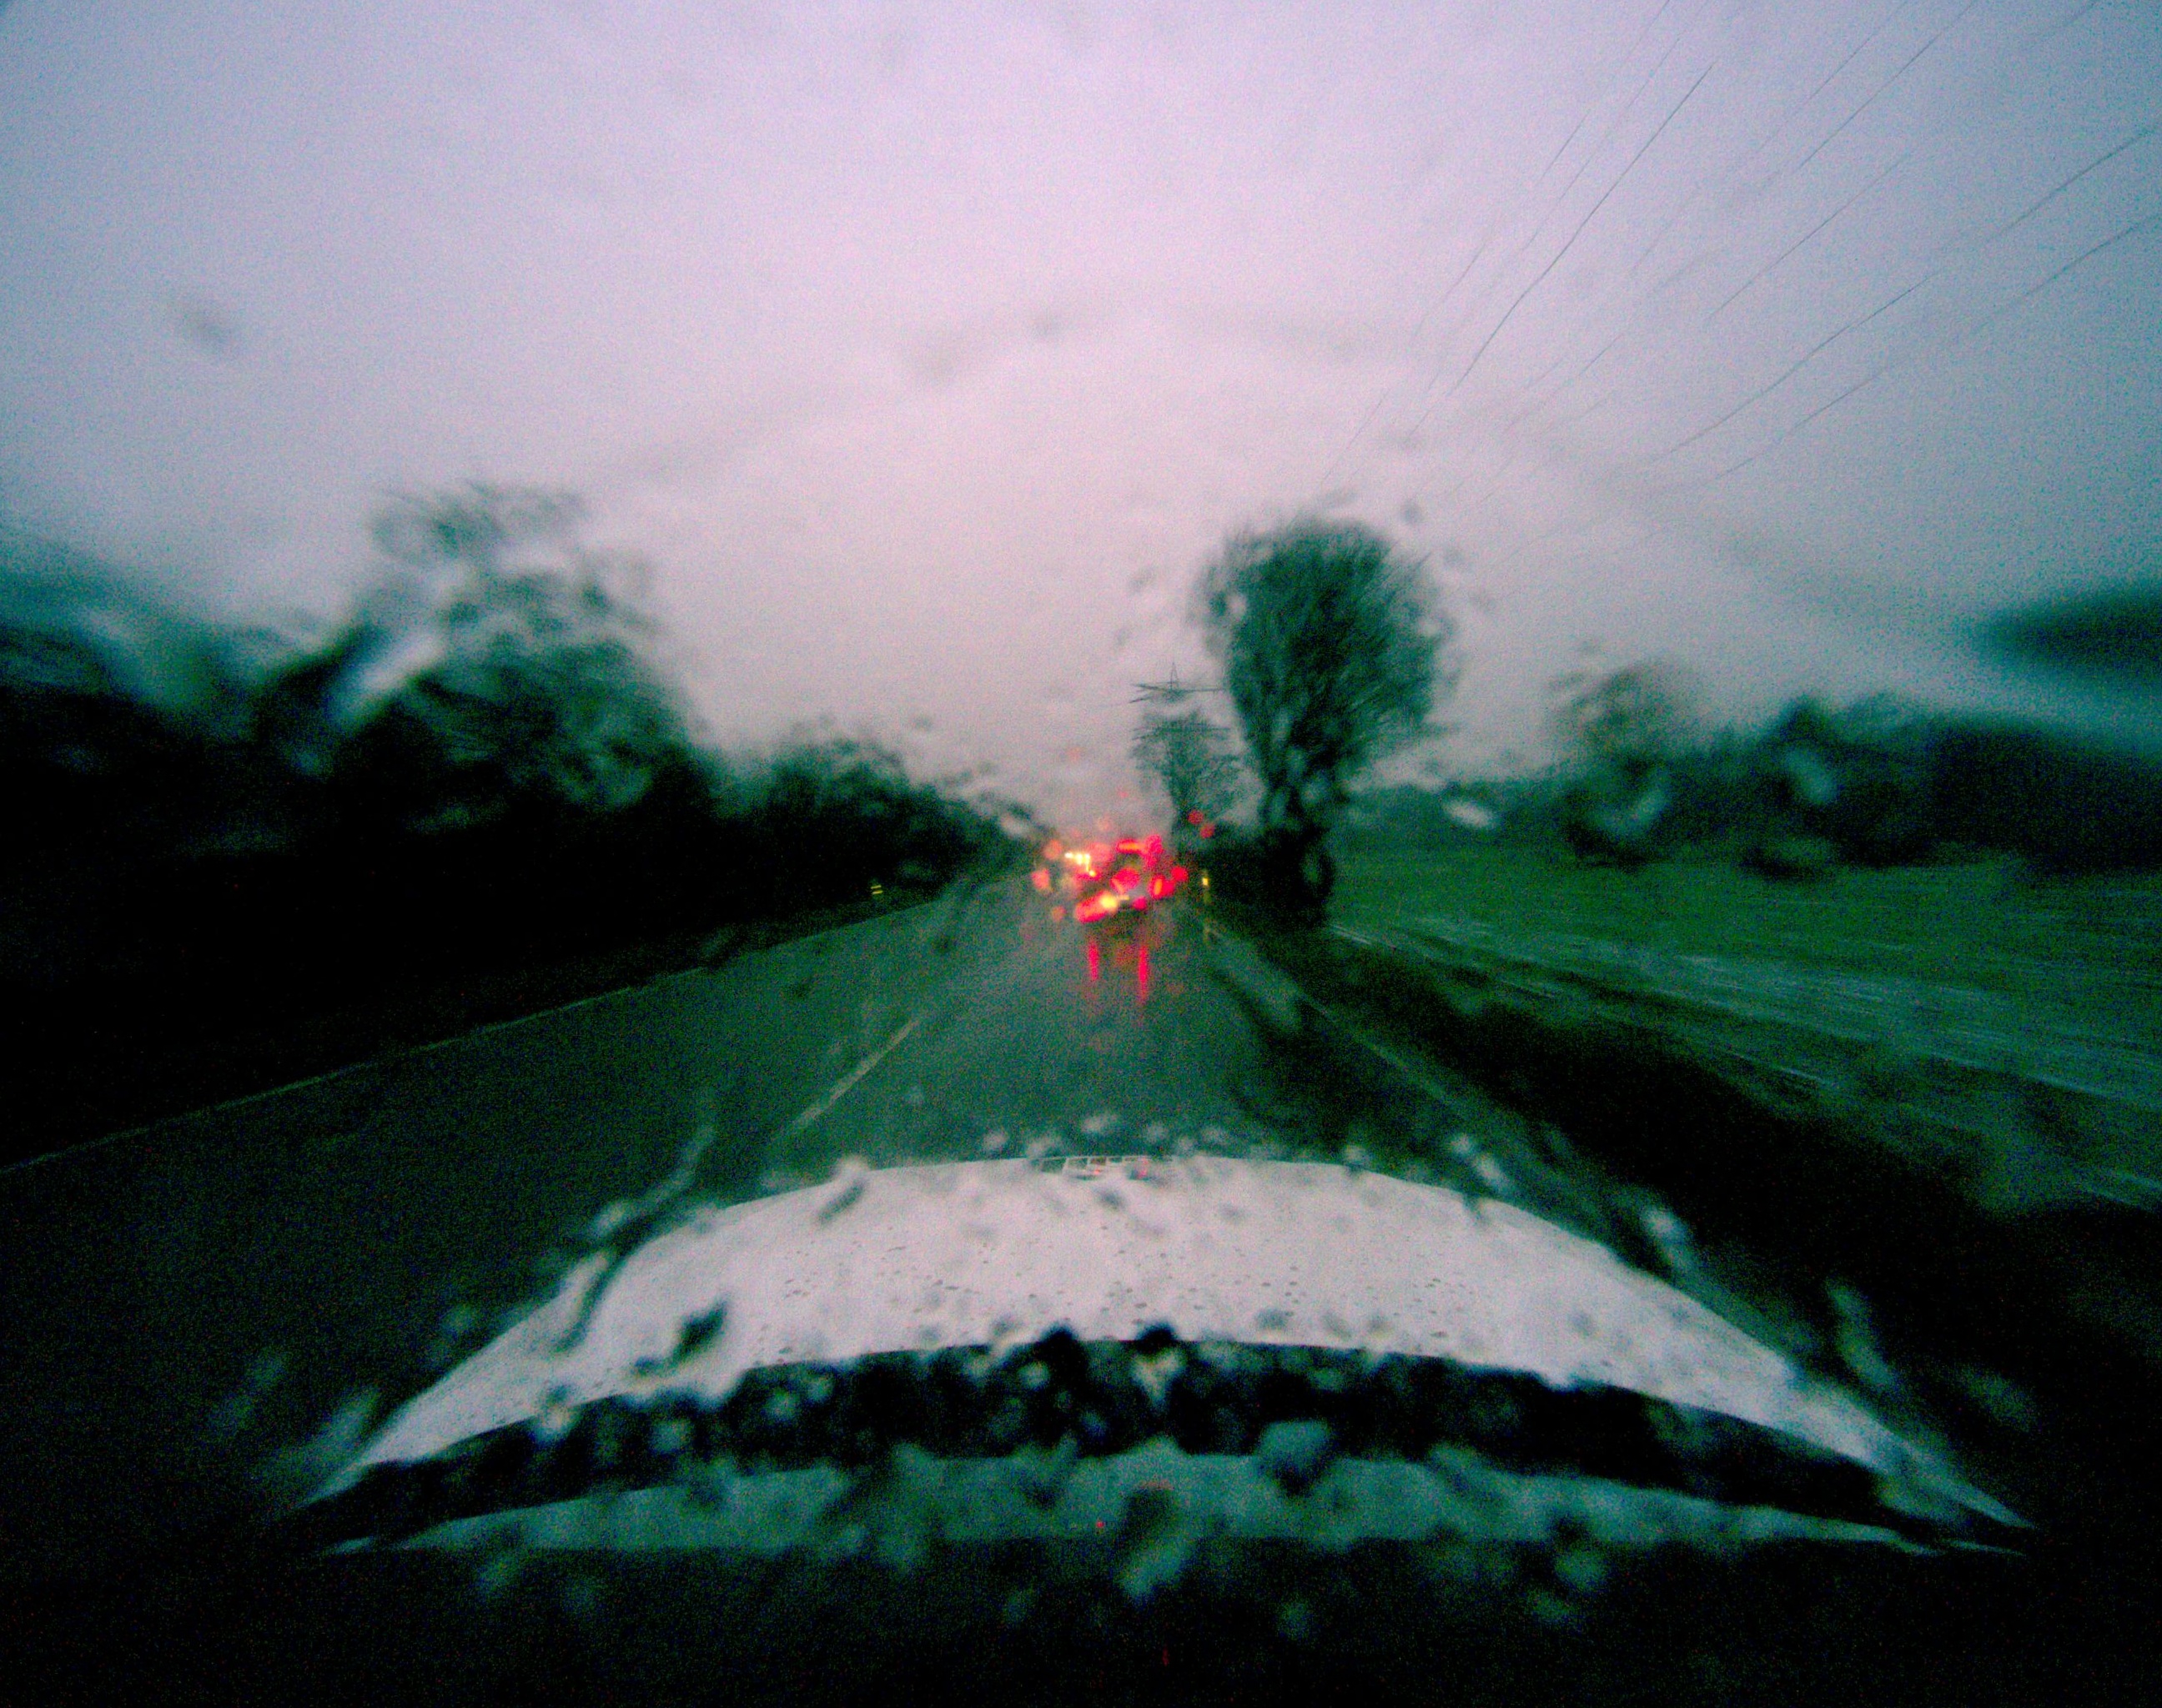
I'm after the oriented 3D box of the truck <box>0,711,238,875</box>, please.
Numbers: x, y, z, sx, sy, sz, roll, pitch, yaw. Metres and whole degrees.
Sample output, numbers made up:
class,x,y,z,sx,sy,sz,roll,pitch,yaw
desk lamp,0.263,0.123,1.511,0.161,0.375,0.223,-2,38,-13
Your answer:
class,x,y,z,sx,sy,sz,roll,pitch,yaw
truck,-25.515,-1.331,20.083,2.981,3.632,6.068,-2,0,1

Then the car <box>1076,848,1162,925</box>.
class,x,y,z,sx,sy,sz,roll,pitch,yaw
car,0.947,0.777,21.207,1.986,1.752,4.001,-2,0,1

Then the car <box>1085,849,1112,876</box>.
class,x,y,z,sx,sy,sz,roll,pitch,yaw
car,1.380,0.653,64.172,1.986,2.013,4.002,-2,0,2
